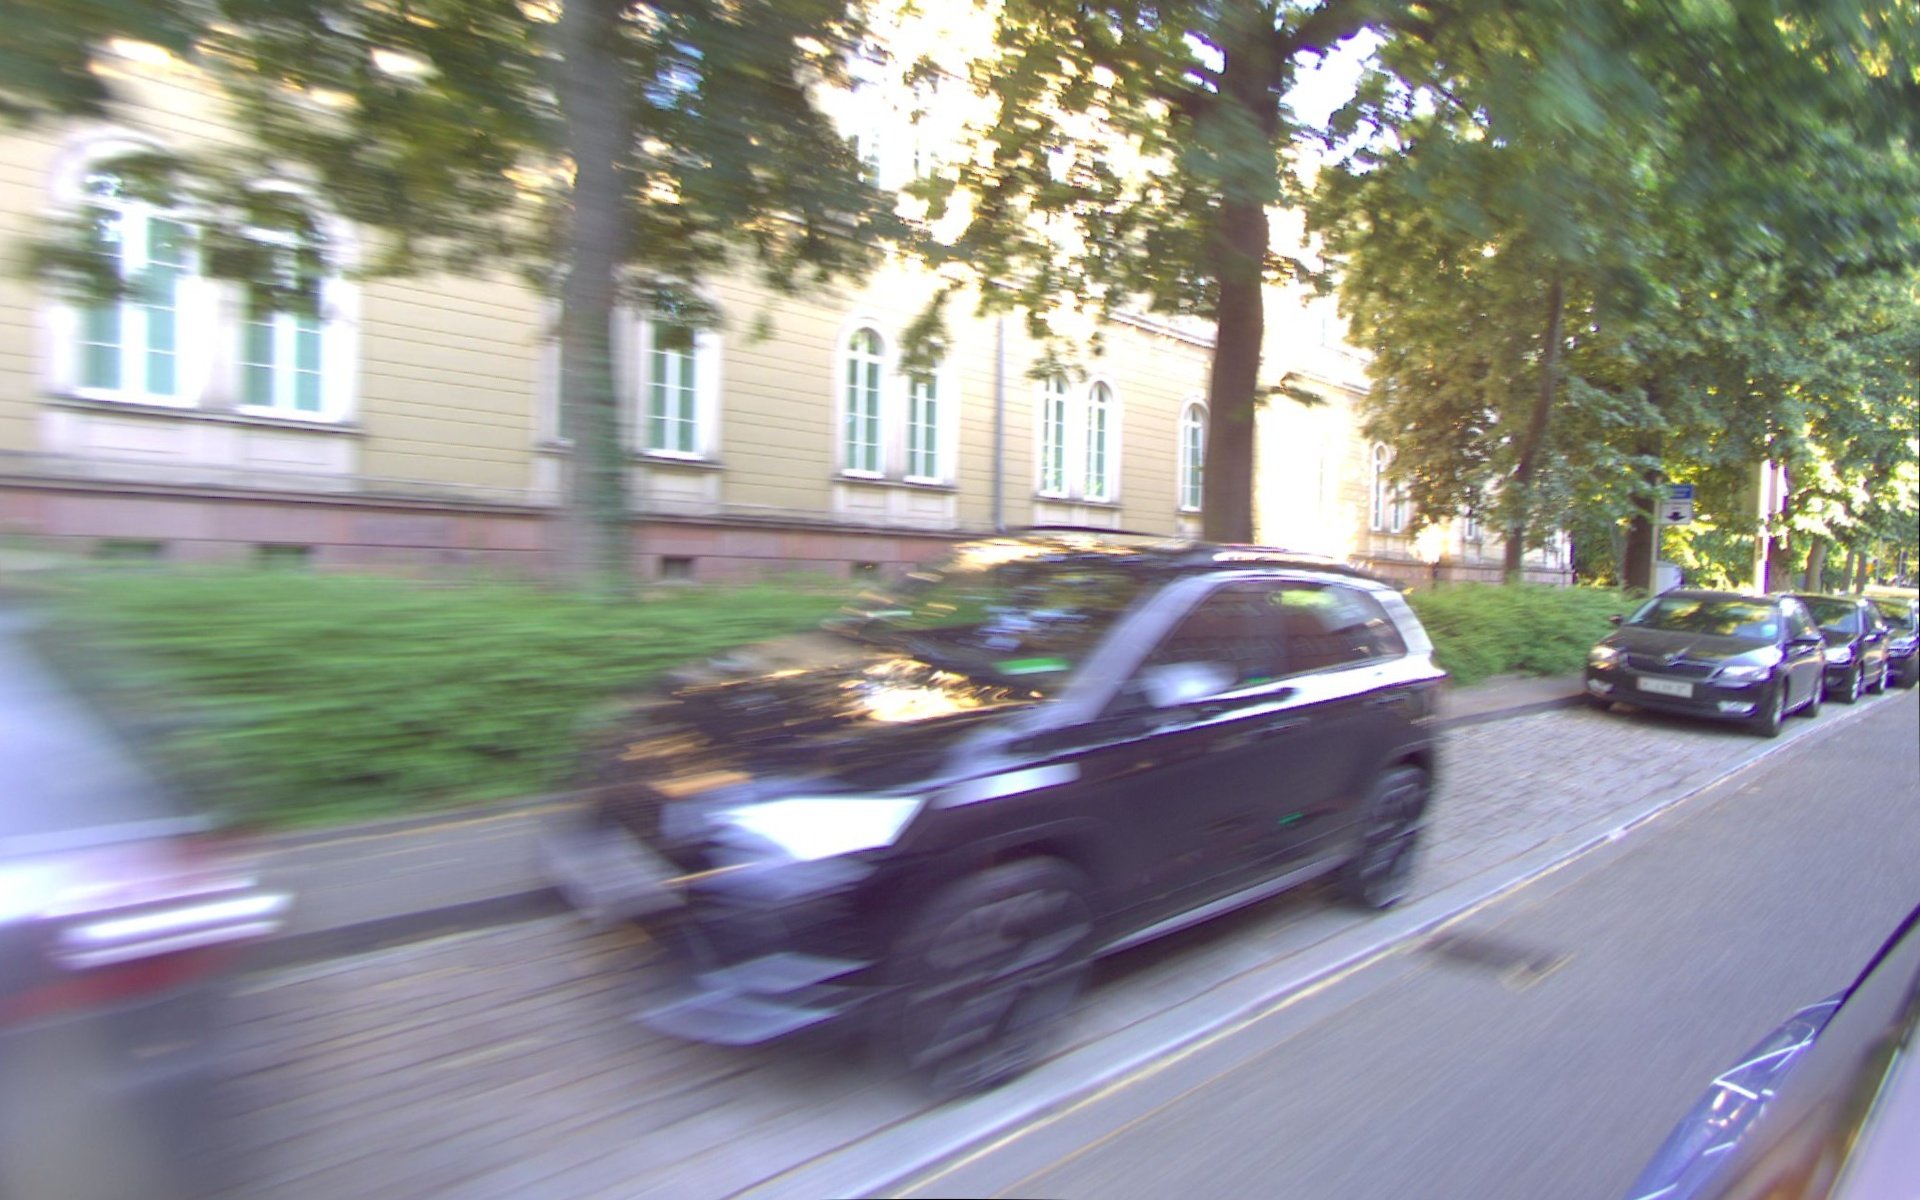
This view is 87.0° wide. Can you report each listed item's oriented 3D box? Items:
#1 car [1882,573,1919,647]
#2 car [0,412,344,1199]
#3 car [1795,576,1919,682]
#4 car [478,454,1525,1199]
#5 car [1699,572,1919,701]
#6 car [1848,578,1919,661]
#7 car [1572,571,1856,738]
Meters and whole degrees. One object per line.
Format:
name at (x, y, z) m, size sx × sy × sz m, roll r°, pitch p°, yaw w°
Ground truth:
car at (26.128, 0.247, 26.770) m, size 4.858 × 1.835 × 1.810 m, roll -1°, pitch 3°, yaw -39°
car at (-3.085, 0.517, 0.896) m, size 4.118 × 1.557 × 1.727 m, roll -1°, pitch 3°, yaw -42°
car at (16.825, 0.425, 18.404) m, size 4.544 × 1.551 × 1.728 m, roll -1°, pitch 7°, yaw -42°
car at (0.550, 0.441, 4.315) m, size 4.342 × 1.670 × 1.811 m, roll 0°, pitch 6°, yaw -42°
car at (12.885, 0.442, 15.221) m, size 4.114 × 1.551 × 1.730 m, roll -1°, pitch 6°, yaw -39°
car at (21.845, 0.384, 23.165) m, size 4.422 × 1.703 × 1.727 m, roll -1°, pitch 3°, yaw -42°
car at (8.799, 0.461, 11.659) m, size 4.445 × 1.525 × 1.738 m, roll -1°, pitch 3°, yaw -42°
